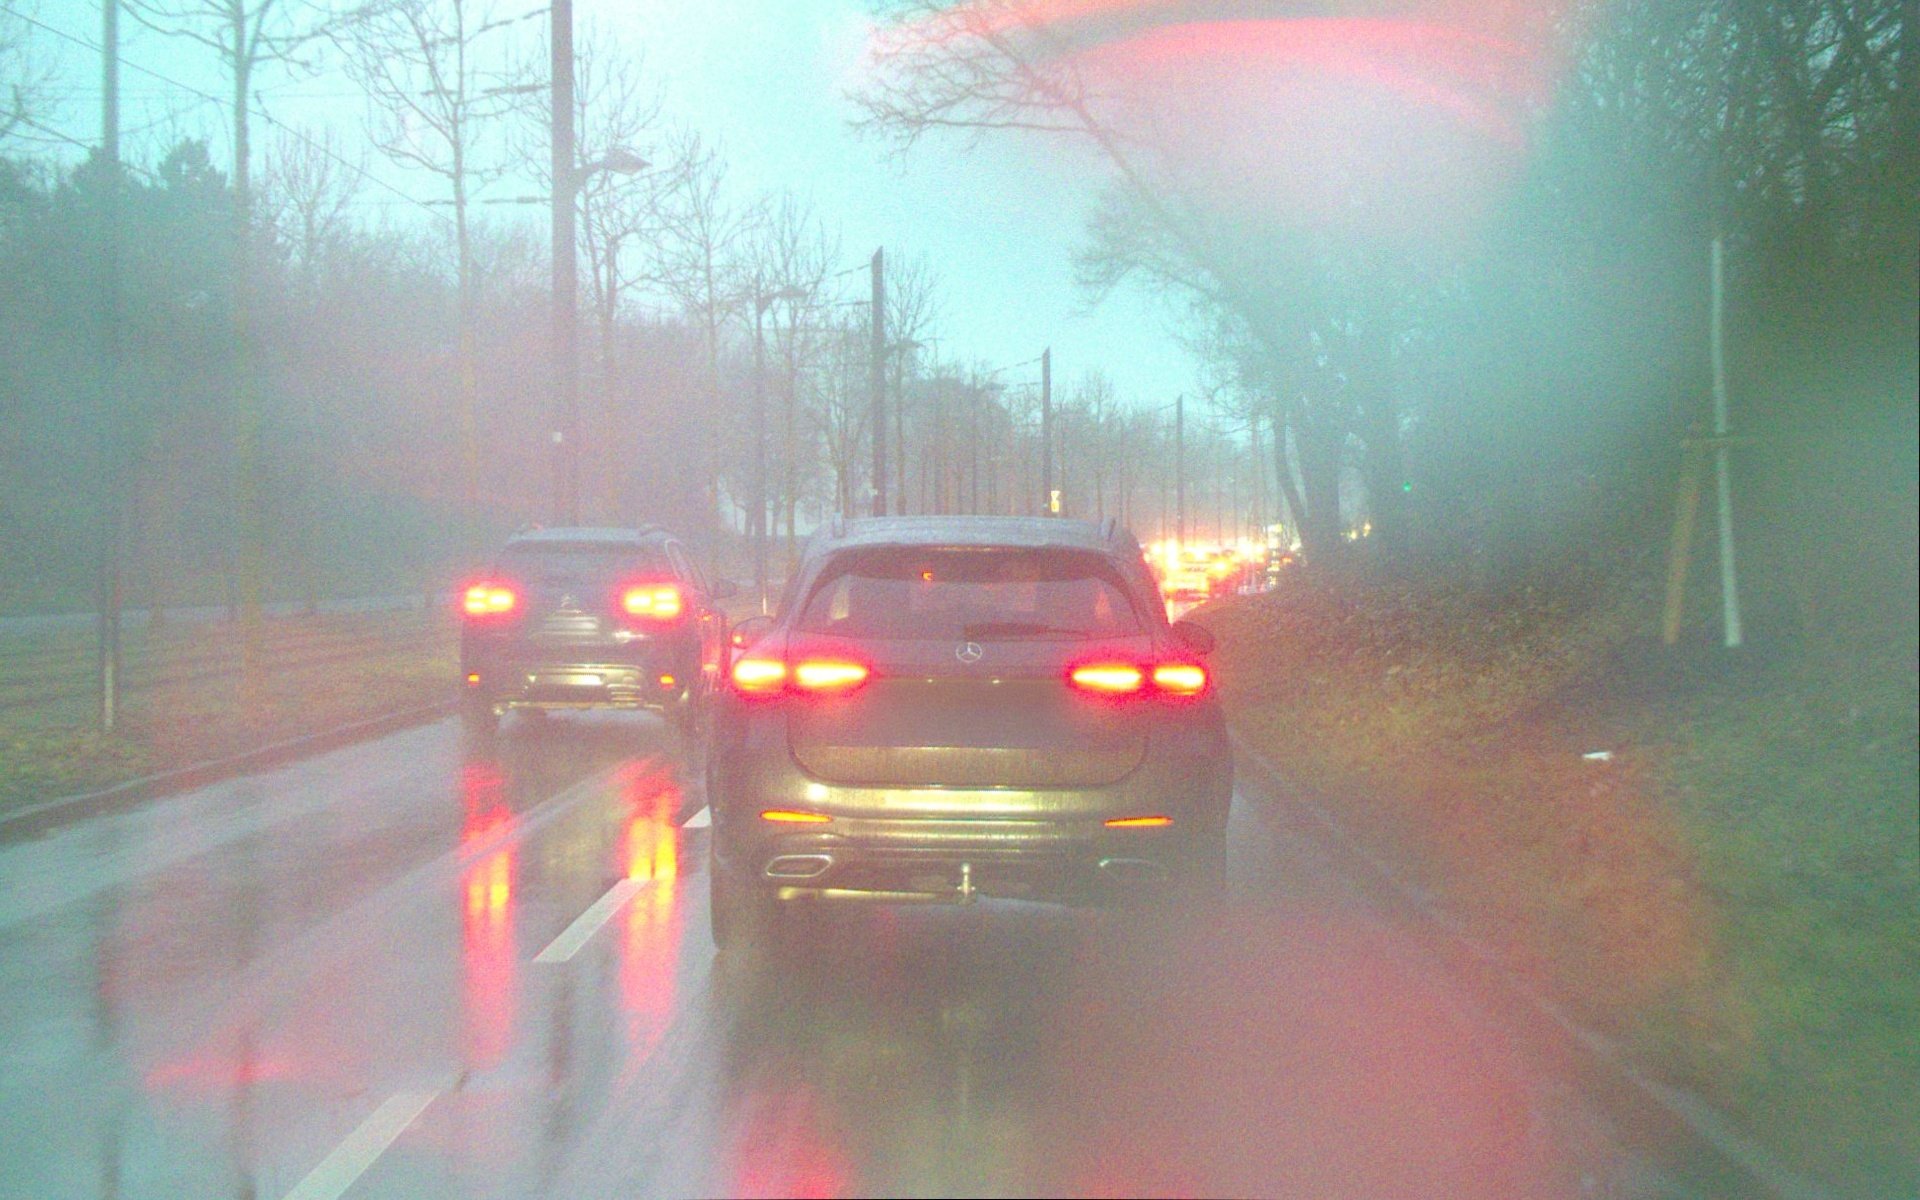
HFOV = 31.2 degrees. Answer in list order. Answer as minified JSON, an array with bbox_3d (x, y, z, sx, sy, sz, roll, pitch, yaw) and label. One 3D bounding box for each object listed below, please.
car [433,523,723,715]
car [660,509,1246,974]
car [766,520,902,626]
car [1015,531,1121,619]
[{"bbox_3d":[-3.081,0.100,28.487,1.880,1.454,4.000,0,1,1],"label":"car"},{"bbox_3d":[-0.038,0.439,13.799,1.998,1.578,4.000,1,1,0],"label":"car"},{"bbox_3d":[-1.948,-0.458,54.099,1.880,1.588,4.000,0,1,2],"label":"car"},{"bbox_3d":[2.007,-0.476,62.892,1.709,1.552,3.995,0,1,5],"label":"car"}]
